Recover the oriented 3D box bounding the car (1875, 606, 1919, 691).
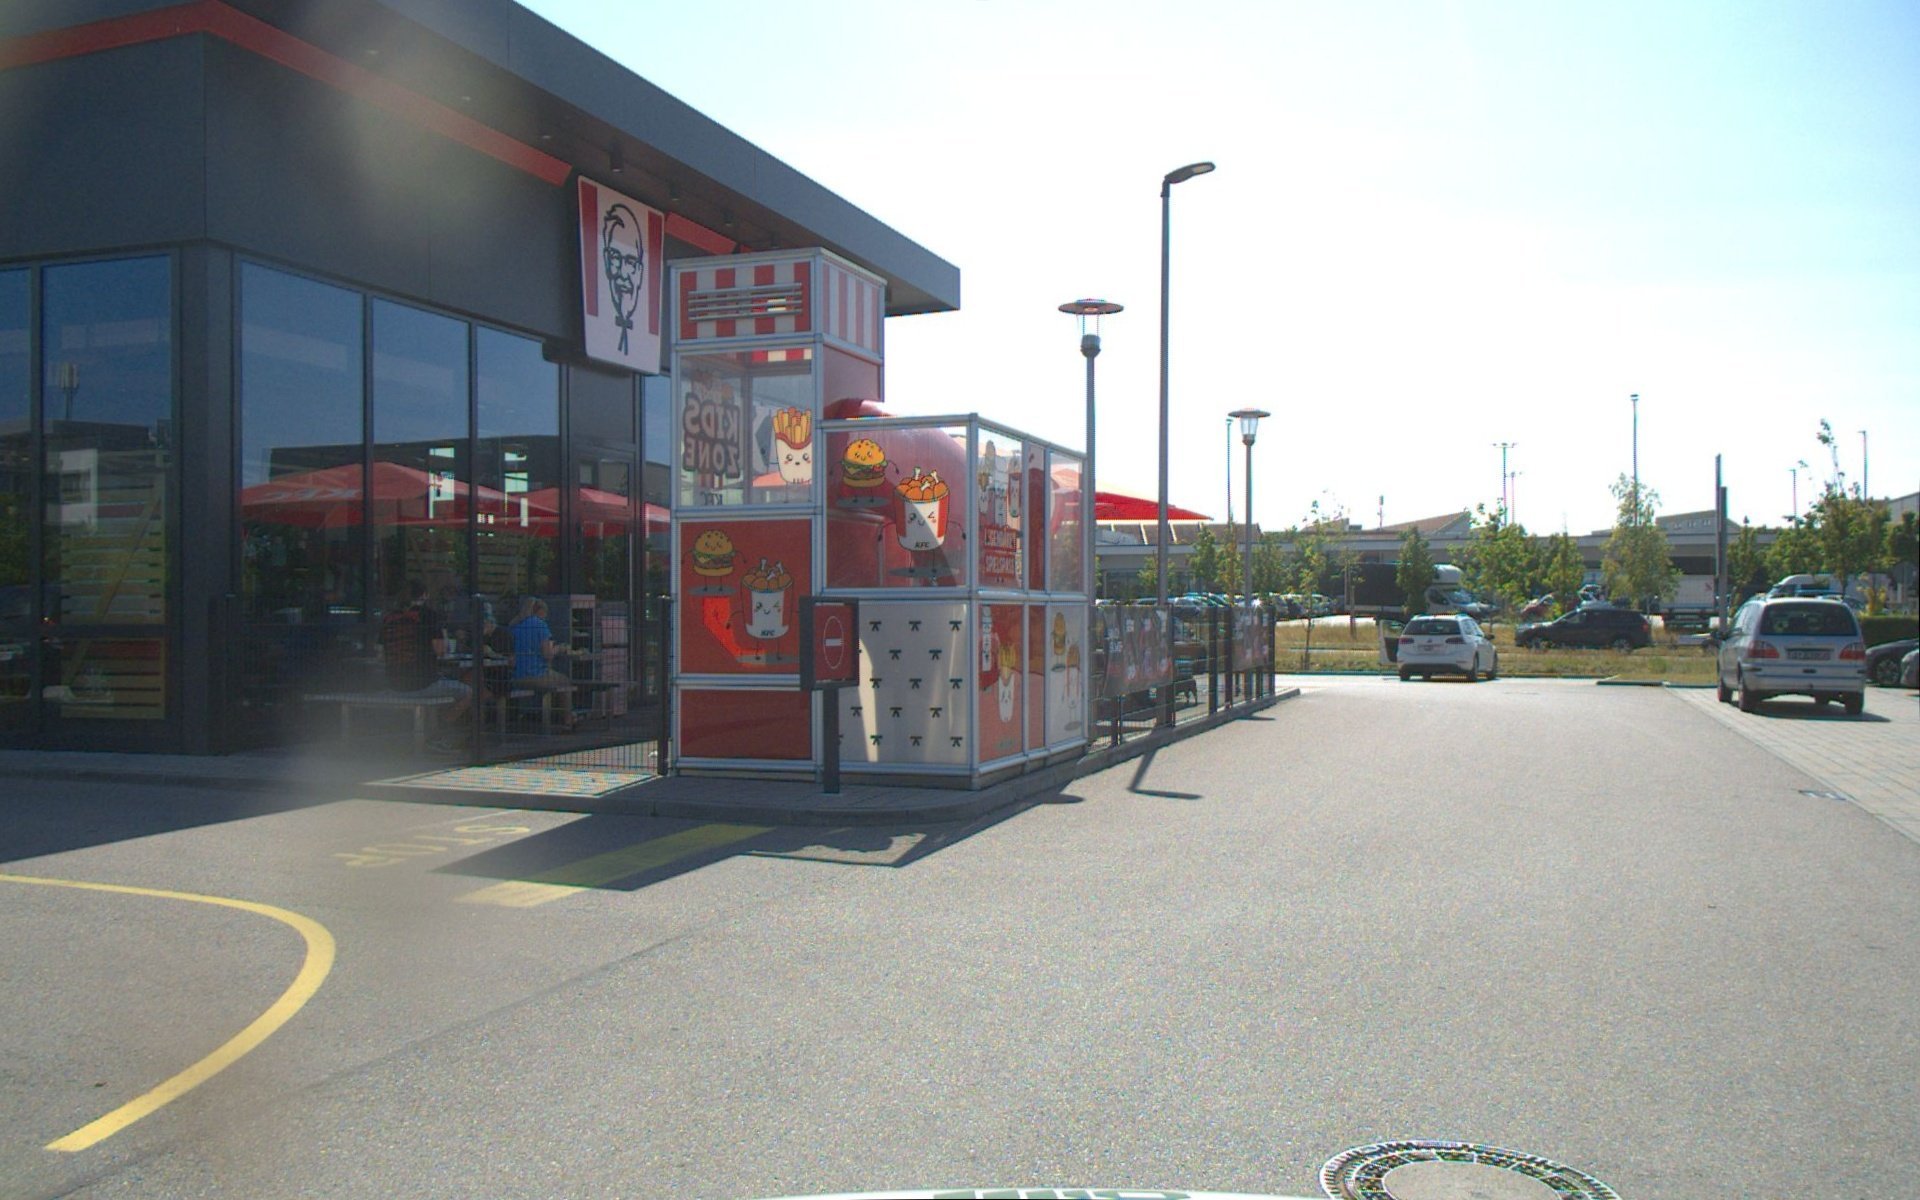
[{"bbox_3d":[19.179,0.905,29.966,1.951,1.553,4.158,1,0,-34],"label":"car"}]

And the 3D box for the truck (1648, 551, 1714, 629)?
[{"bbox_3d":[34.109,-0.449,78.209,2.704,3.541,6.829,0,0,24],"label":"truck"}]

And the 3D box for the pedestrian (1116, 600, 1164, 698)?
[{"bbox_3d":[2.418,0.653,22.250,0.599,1.296,0.624,0,0,3],"label":"pedestrian"}]

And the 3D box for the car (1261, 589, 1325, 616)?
[{"bbox_3d":[23.987,0.147,119.201,4.298,1.888,1.956,1,0,19],"label":"car"}]

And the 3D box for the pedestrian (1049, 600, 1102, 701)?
[{"bbox_3d":[1.508,0.646,21.596,0.669,1.296,0.551,0,0,3],"label":"pedestrian"}]

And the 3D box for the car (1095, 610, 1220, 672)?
[{"bbox_3d":[5.081,1.046,42.056,1.792,1.495,4.348,0,-2,27],"label":"car"}]

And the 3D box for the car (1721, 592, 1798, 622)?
[{"bbox_3d":[52.122,0.425,107.865,4.298,1.888,1.956,1,0,19],"label":"car"}]

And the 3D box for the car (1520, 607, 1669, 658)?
[{"bbox_3d":[23.737,1.189,61.924,5.101,1.761,1.988,1,0,23],"label":"car"}]

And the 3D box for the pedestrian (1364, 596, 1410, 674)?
[{"bbox_3d":[10.215,0.840,39.544,0.971,1.841,0.726,0,-2,22],"label":"pedestrian"}]

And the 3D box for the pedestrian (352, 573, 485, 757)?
[{"bbox_3d":[-4.485,0.520,13.721,0.779,1.468,0.694,0,0,17],"label":"pedestrian"}]

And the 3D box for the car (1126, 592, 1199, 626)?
[{"bbox_3d":[11.322,0.501,92.422,1.921,1.888,4.378,0,0,42],"label":"car"}]

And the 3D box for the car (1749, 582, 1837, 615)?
[{"bbox_3d":[48.404,-0.097,96.164,4.298,1.888,1.956,1,0,19],"label":"car"}]

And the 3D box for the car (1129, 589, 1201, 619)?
[{"bbox_3d":[13.213,0.271,106.449,4.298,1.888,1.956,1,0,19],"label":"car"}]

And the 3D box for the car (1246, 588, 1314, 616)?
[{"bbox_3d":[21.983,0.139,113.578,4.298,1.888,1.956,1,0,19],"label":"car"}]

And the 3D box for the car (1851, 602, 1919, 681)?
[{"bbox_3d":[20.454,0.846,33.122,1.945,1.553,4.296,0,0,-26],"label":"car"}]

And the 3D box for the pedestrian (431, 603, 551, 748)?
[{"bbox_3d":[-4.110,0.645,14.525,0.736,1.221,0.695,0,0,20],"label":"pedestrian"}]

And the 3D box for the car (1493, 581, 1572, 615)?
[{"bbox_3d":[32.294,-0.108,93.367,4.165,1.888,1.870,1,0,19],"label":"car"}]

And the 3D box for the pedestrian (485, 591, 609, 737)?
[{"bbox_3d":[-3.915,0.587,15.719,0.737,1.335,0.945,0,0,20],"label":"pedestrian"}]

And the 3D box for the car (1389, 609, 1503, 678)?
[{"bbox_3d":[11.362,1.002,38.471,1.791,1.495,4.476,0,-2,27],"label":"car"}]

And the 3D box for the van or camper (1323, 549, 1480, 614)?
[{"bbox_3d":[22.371,-0.903,84.225,2.394,3.156,7.949,1,0,-37],"label":"van or camper"}]

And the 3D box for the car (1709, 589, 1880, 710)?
[{"bbox_3d":[13.430,0.743,26.879,1.789,1.779,4.685,0,0,18],"label":"car"}]

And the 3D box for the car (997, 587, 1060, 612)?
[{"bbox_3d":[5.220,-0.037,125.764,4.463,1.888,1.956,1,0,19],"label":"car"}]

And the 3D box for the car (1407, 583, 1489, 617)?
[{"bbox_3d":[30.283,0.012,102.809,4.811,2.049,2.084,1,0,15],"label":"car"}]

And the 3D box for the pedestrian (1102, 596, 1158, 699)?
[{"bbox_3d":[2.204,0.605,21.512,0.669,1.296,0.842,0,0,3],"label":"pedestrian"}]

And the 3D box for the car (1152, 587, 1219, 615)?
[{"bbox_3d":[15.576,0.080,114.092,4.298,1.888,1.956,1,0,19],"label":"car"}]

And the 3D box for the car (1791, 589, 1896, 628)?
[{"bbox_3d":[43.637,0.398,81.780,4.298,1.888,1.956,1,0,19],"label":"car"}]

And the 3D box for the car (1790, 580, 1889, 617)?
[{"bbox_3d":[45.915,-0.101,86.441,4.298,1.888,1.956,1,0,19],"label":"car"}]

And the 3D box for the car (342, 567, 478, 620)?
[{"bbox_3d":[-19.059,-0.202,57.459,1.855,1.732,4.322,0,-1,31],"label":"car"}]

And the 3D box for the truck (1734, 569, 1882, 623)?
[{"bbox_3d":[45.737,-0.231,89.395,6.888,2.864,1.956,1,0,19],"label":"truck"}]
